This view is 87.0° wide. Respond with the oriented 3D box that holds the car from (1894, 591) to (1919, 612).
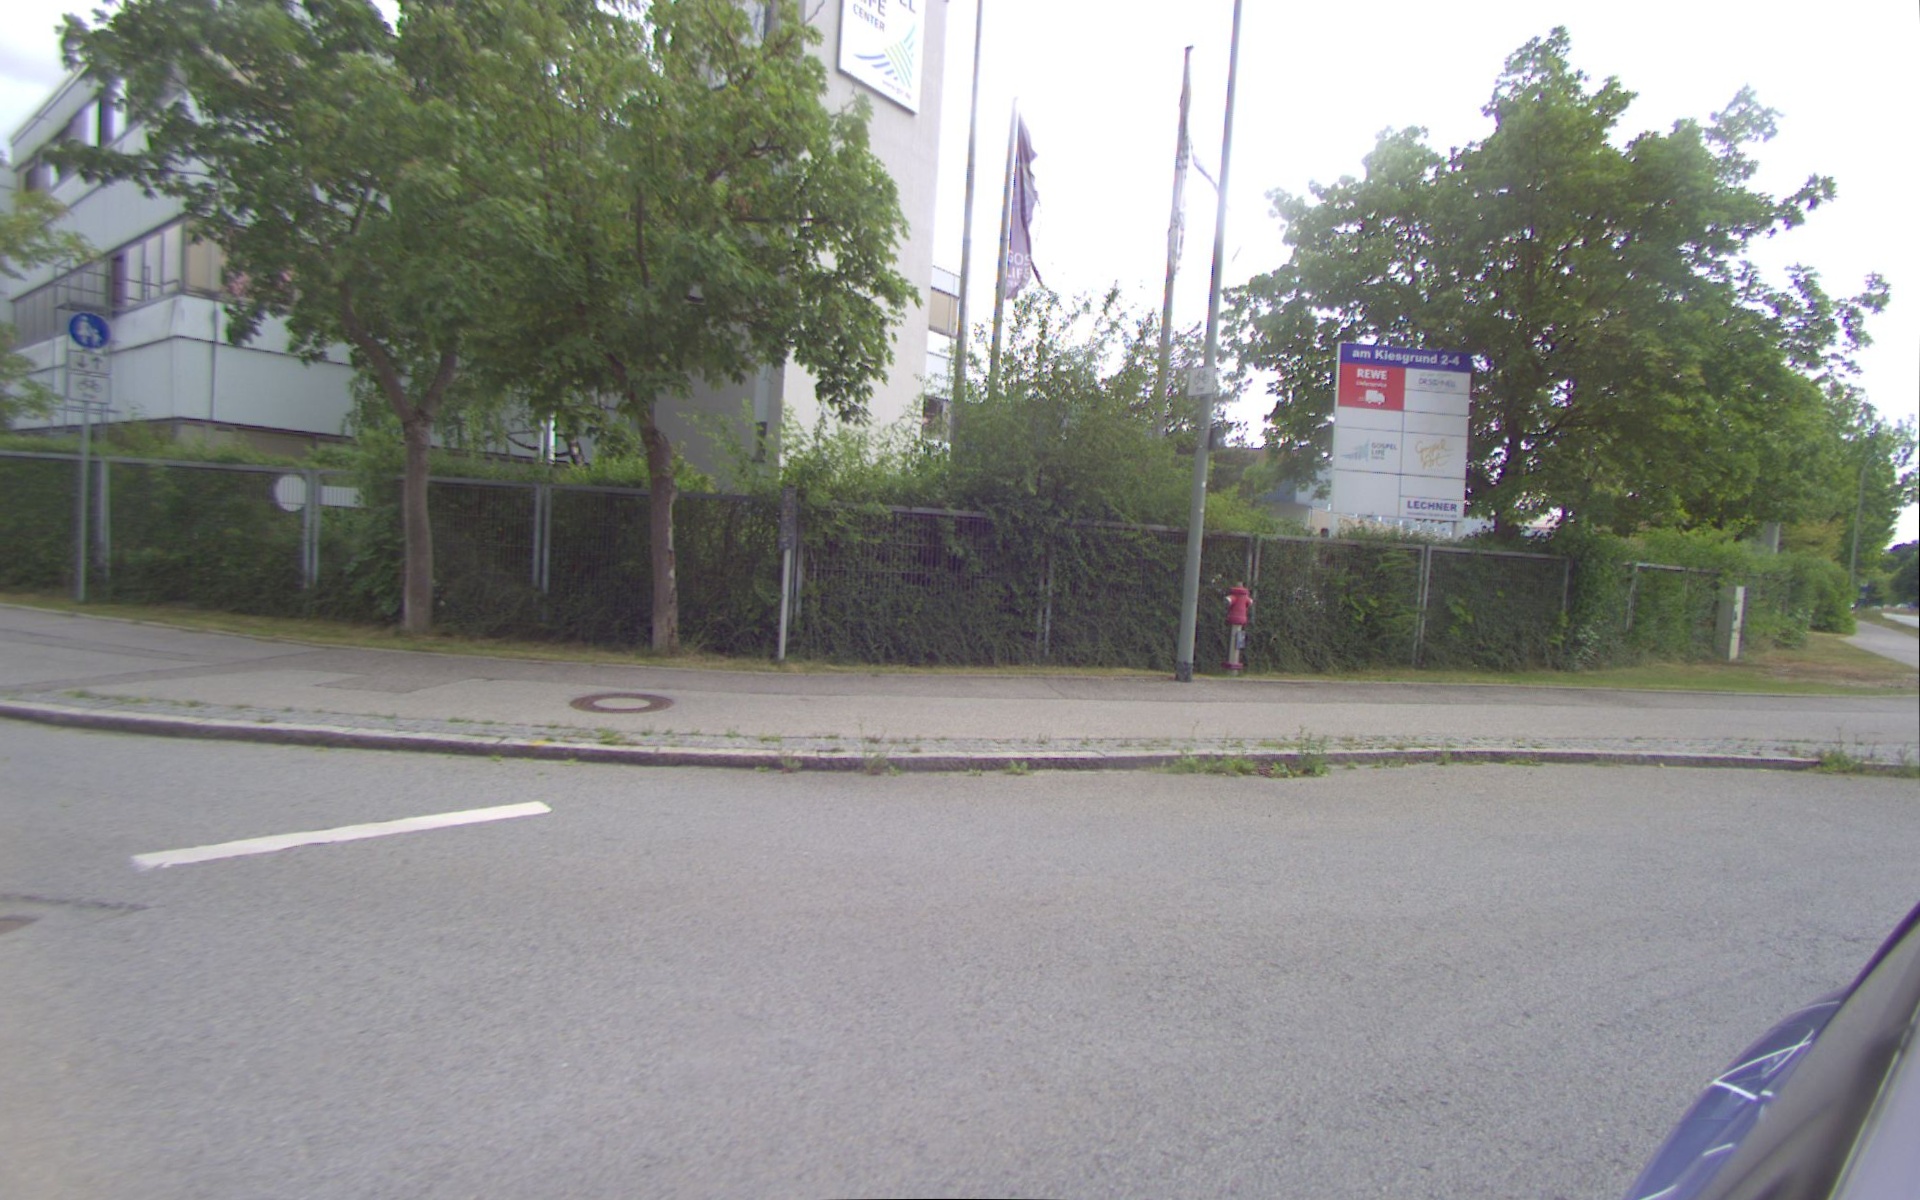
[{"bbox_3d":[105.089,0.193,111.927,2.028,2.151,5.644,5,3,38],"label":"car"}]
